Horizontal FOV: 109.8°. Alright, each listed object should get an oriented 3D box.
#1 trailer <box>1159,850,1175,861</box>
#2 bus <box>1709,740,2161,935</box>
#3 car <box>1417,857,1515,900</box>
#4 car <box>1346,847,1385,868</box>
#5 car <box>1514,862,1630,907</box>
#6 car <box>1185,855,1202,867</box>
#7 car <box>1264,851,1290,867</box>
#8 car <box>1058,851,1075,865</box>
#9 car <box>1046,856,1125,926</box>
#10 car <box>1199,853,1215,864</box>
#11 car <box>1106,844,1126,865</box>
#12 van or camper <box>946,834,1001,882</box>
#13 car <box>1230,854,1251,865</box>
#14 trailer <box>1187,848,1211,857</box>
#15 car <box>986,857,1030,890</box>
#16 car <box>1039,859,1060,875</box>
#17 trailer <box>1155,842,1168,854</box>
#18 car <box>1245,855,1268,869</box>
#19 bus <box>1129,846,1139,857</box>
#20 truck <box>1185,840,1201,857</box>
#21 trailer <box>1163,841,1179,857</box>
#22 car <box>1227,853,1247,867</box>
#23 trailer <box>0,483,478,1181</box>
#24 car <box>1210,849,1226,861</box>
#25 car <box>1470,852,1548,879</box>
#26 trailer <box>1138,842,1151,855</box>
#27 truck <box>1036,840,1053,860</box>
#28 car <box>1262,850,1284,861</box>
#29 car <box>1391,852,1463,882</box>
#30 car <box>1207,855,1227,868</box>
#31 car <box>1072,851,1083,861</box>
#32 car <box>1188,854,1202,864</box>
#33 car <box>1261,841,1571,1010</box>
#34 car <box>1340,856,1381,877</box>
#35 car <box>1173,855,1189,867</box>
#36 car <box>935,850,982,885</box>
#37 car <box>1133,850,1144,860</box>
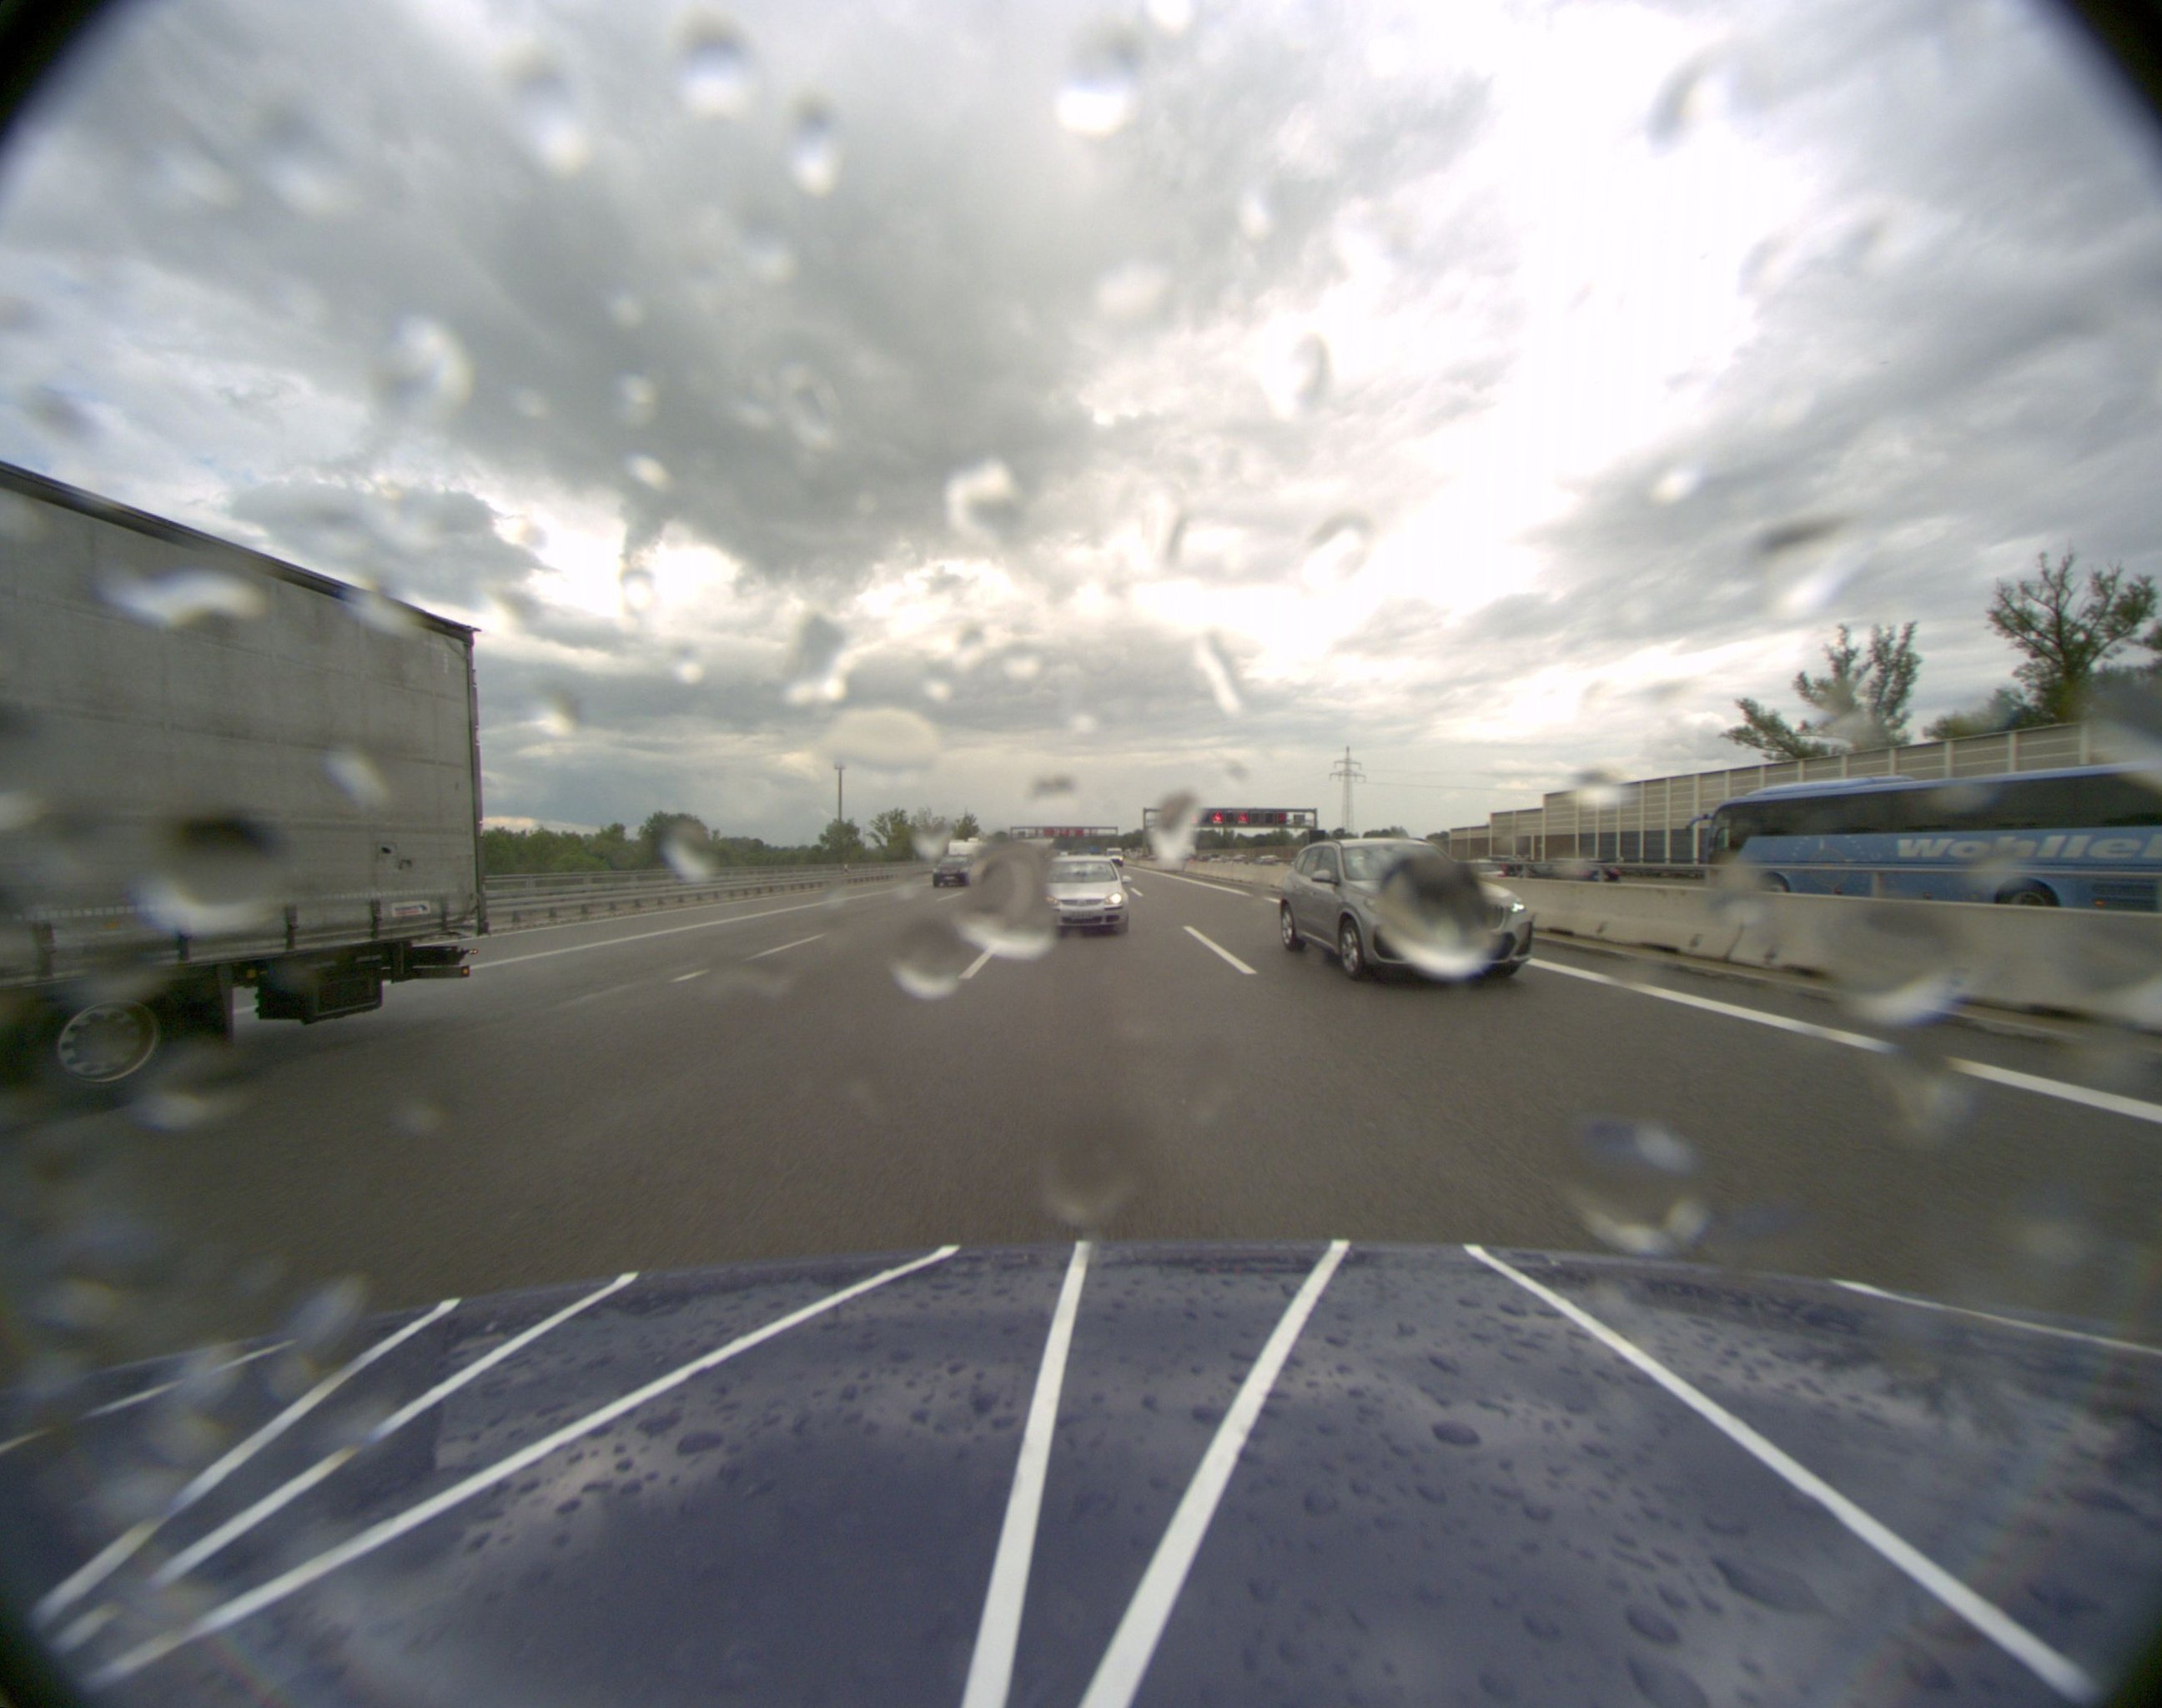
[{"bbox_3d":[14.299,0.276,126.659,2.149,1.699,6.046,0,0,0],"label":"trailer"},{"bbox_3d":[22.345,-0.327,19.304,3.100,3.736,11.881,0,0,1],"label":"bus"},{"bbox_3d":[14.729,0.885,29.336,1.752,1.516,4.178,0,0,1],"label":"car"},{"bbox_3d":[26.373,0.349,70.626,1.752,1.882,4.782,0,0,0],"label":"car"},{"bbox_3d":[18.362,1.091,28.664,1.752,1.516,4.178,0,0,1],"label":"car"},{"bbox_3d":[14.808,0.930,100.475,1.752,1.621,3.748,0,0,1],"label":"car"},{"bbox_3d":[19.142,0.497,74.234,1.625,1.570,3.619,0,0,1],"label":"car"},{"bbox_3d":[-1.837,0.465,97.082,1.999,1.701,3.999,-2,0,-2],"label":"car"},{"bbox_3d":[0.060,0.803,18.446,1.683,1.437,3.999,-1,0,-1],"label":"car"},{"bbox_3d":[18.614,0.690,112.395,1.751,1.621,4.166,0,0,2],"label":"car"},{"bbox_3d":[4.371,0.113,95.141,1.999,2.524,4.807,-2,0,-2],"label":"car"},{"bbox_3d":[-6.597,0.256,47.547,2.390,2.722,7.208,-2,0,0],"label":"van or camper"},{"bbox_3d":[22.181,0.752,105.807,1.826,1.621,4.525,0,0,0],"label":"car"},{"bbox_3d":[26.070,-0.301,168.851,2.759,1.818,16.349,0,0,0],"label":"trailer"},{"bbox_3d":[-3.323,0.856,35.226,1.718,1.437,3.999,-1,0,-1],"label":"car"},{"bbox_3d":[-2.952,1.212,72.089,1.841,1.437,3.999,-1,0,-1],"label":"car"},{"bbox_3d":[25.957,-1.860,246.327,3.037,3.910,12.973,0,0,0],"label":"trailer"},{"bbox_3d":[21.451,0.948,93.149,1.752,1.621,4.391,0,0,-1],"label":"car"},{"bbox_3d":[17.261,-0.810,247.296,2.661,3.658,10.633,0,0,0],"label":"bus"},{"bbox_3d":[26.119,-1.303,177.514,2.759,3.864,6.050,0,0,0],"label":"truck"},{"bbox_3d":[18.478,-1.043,156.005,2.455,3.120,6.050,0,0,0],"label":"trailer"},{"bbox_3d":[18.553,0.737,90.520,1.751,1.621,4.166,0,0,2],"label":"car"},{"bbox_3d":[-7.662,-0.132,0.659,2.969,3.996,14.118,-1,0,0],"label":"trailer"},{"bbox_3d":[22.456,0.177,124.534,1.752,1.837,4.165,0,0,-1],"label":"car"},{"bbox_3d":[26.403,0.673,47.126,1.752,1.601,5.688,0,0,1],"label":"car"},{"bbox_3d":[21.156,-1.804,253.463,2.893,3.938,14.297,-2,0,-1],"label":"trailer"},{"bbox_3d":[-7.036,-0.728,145.931,2.870,3.632,9.593,-2,0,-1],"label":"truck"},{"bbox_3d":[26.765,0.190,106.008,1.869,1.392,4.573,0,0,-1],"label":"car"},{"bbox_3d":[18.601,0.655,41.125,1.752,1.516,4.927,0,0,1],"label":"car"},{"bbox_3d":[14.844,0.777,82.785,1.576,1.386,3.575,0,0,1],"label":"car"},{"bbox_3d":[-0.707,0.484,155.508,1.999,2.002,3.999,-2,0,-2],"label":"car"},{"bbox_3d":[18.721,0.749,124.658,1.686,1.568,3.875,0,0,-1],"label":"car"},{"bbox_3d":[3.869,0.707,9.904,1.841,1.615,4.914,-1,0,0],"label":"car"},{"bbox_3d":[21.994,0.940,59.869,1.752,1.601,4.178,0,0,1],"label":"car"},{"bbox_3d":[14.667,1.001,111.638,1.885,1.734,5.110,0,0,2],"label":"car"},{"bbox_3d":[-6.631,0.728,41.663,1.925,1.765,4.502,-1,0,-1],"label":"car"},{"bbox_3d":[13.631,0.181,181.410,2.236,2.224,5.512,0,0,0],"label":"car"}]
